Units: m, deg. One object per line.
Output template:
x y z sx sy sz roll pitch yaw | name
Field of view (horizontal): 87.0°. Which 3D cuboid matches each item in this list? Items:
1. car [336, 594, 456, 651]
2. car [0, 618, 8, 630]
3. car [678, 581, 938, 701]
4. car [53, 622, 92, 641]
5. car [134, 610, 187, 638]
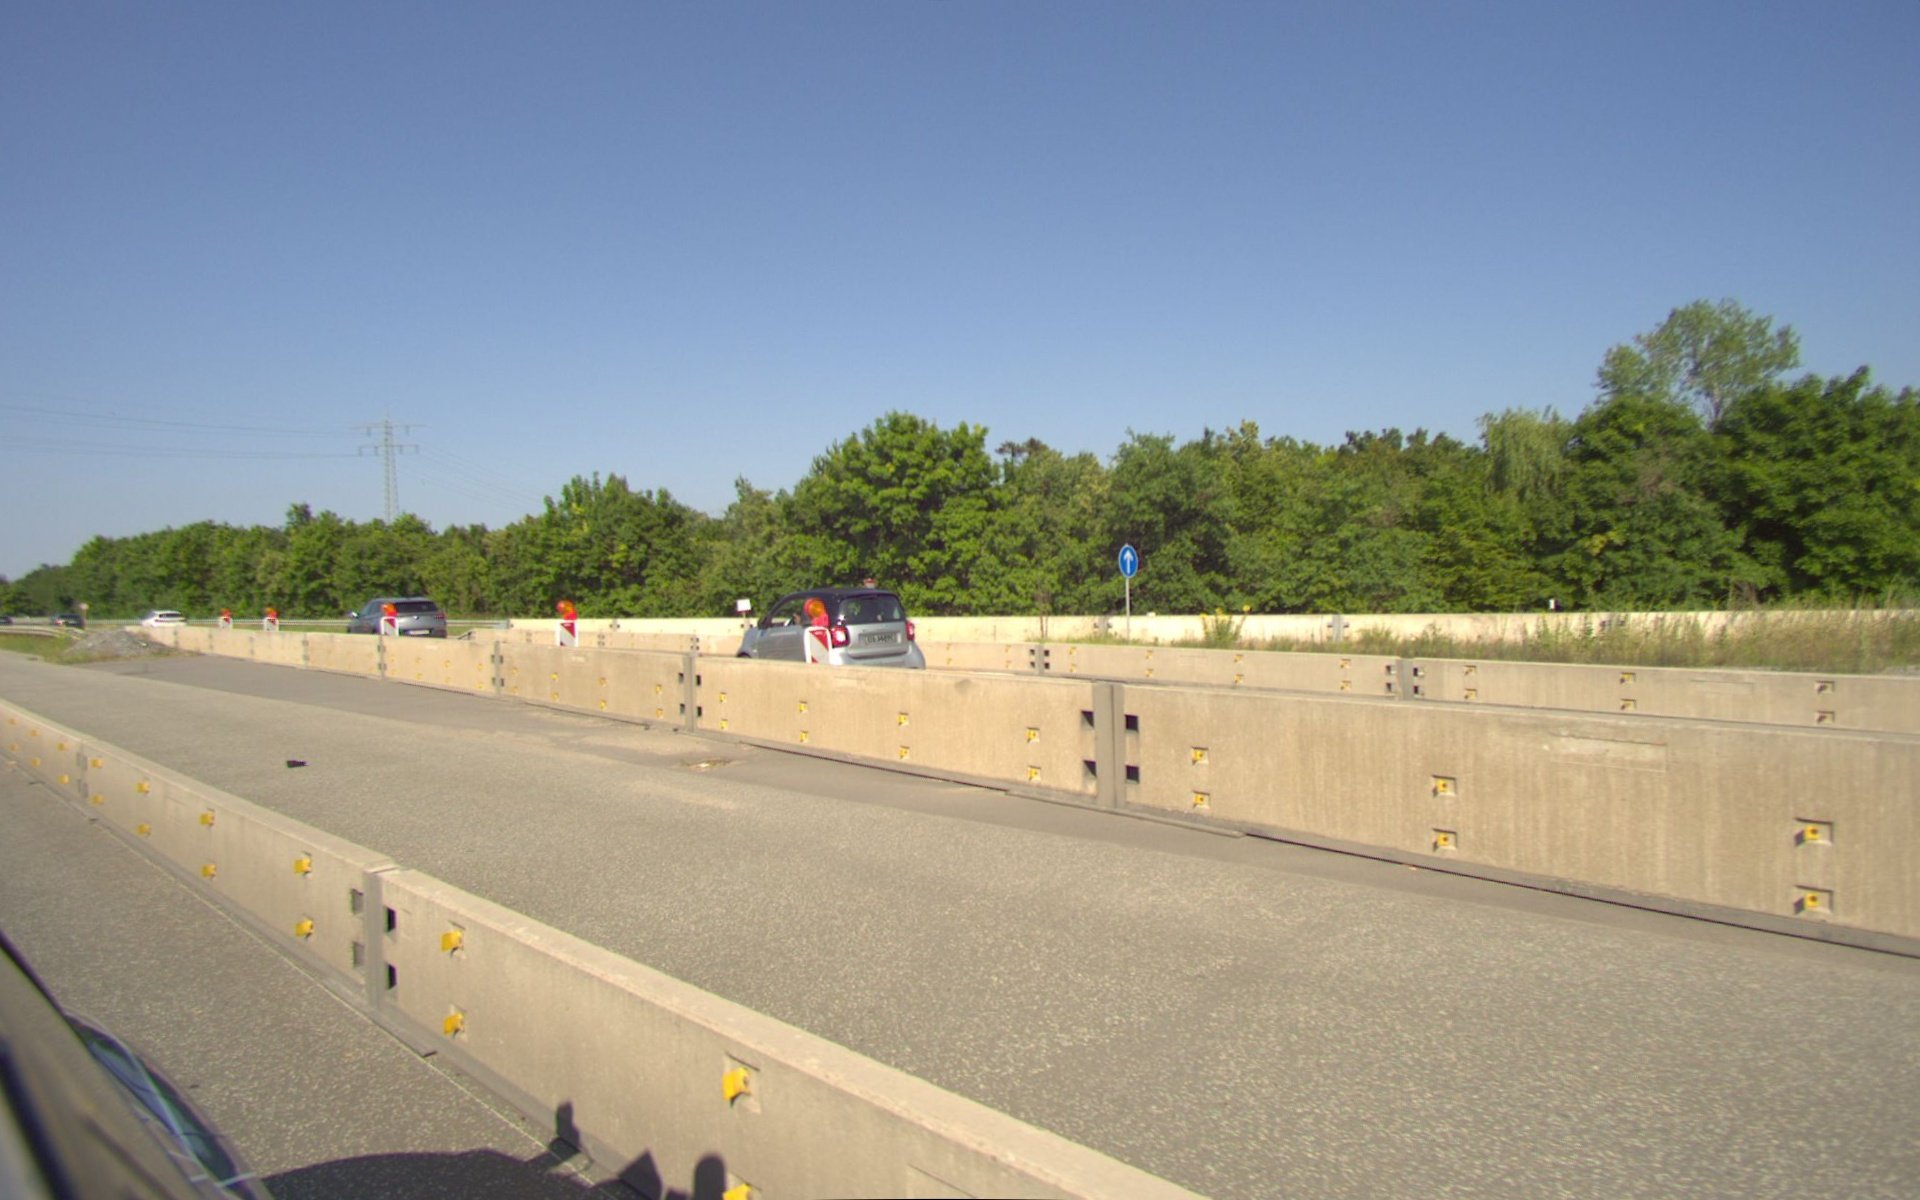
-16.549 0.644 29.598 1.970 1.527 4.584 -1 0 -44 | car
-115.740 2.933 121.421 4.590 1.445 1.778 -1 1 41 | car
-2.374 0.542 14.985 1.691 1.527 4.182 -1 0 -44 | car
-71.373 2.534 81.357 4.811 1.451 1.820 -1 -1 42 | car
-49.190 1.461 62.248 4.437 1.620 1.798 -1 -1 41 | car
